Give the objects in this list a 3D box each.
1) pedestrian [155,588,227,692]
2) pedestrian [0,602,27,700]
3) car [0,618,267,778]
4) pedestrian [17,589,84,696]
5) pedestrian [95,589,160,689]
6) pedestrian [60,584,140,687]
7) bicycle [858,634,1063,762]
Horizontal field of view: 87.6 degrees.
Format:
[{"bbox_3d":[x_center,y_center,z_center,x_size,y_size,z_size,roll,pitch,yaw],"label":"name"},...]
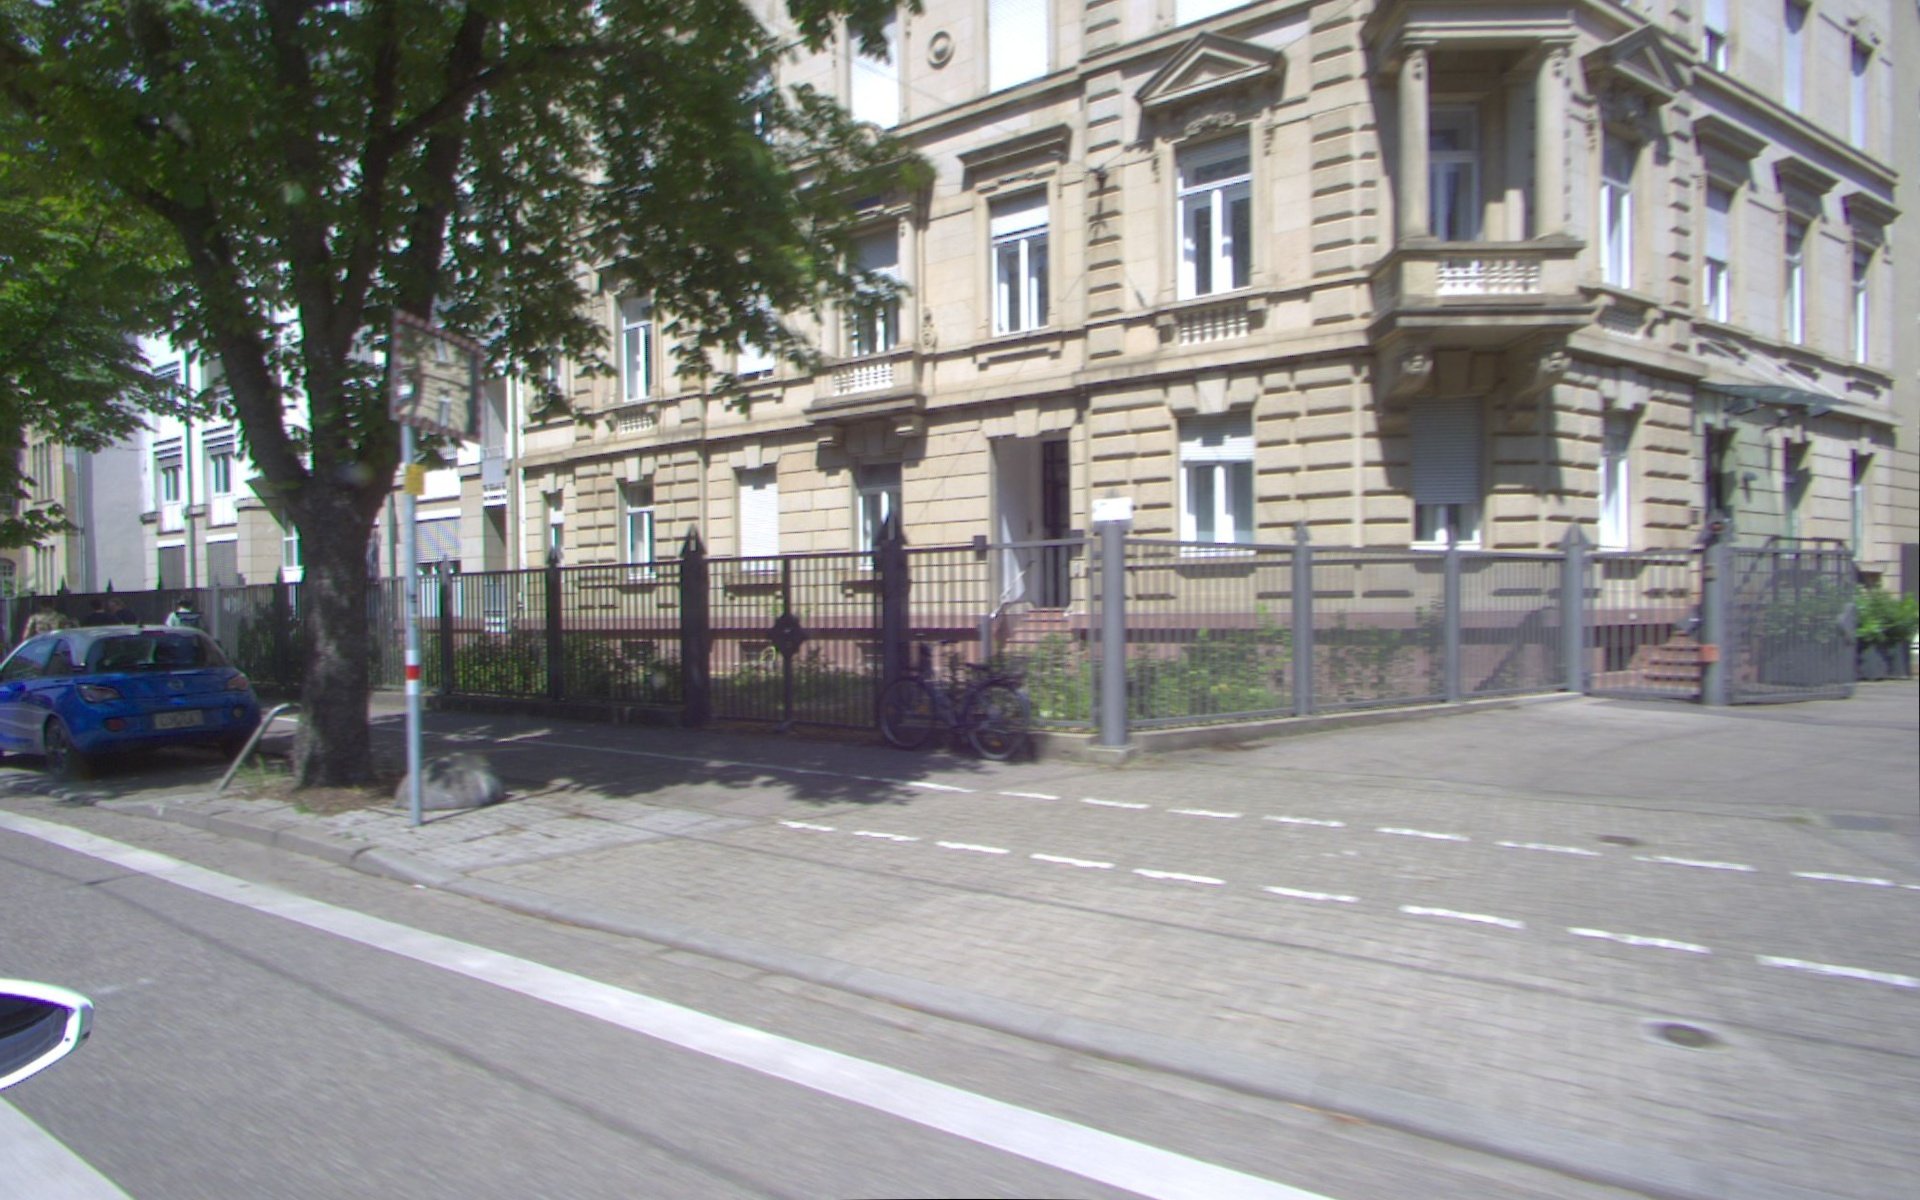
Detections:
[{"bbox_3d":[-13.907,0.699,18.112,1.068,1.821,0.683,0,1,32],"label":"pedestrian"},{"bbox_3d":[-16.884,0.882,17.423,0.961,1.673,0.764,0,1,35],"label":"pedestrian"},{"bbox_3d":[-9.410,0.948,11.020,3.423,1.472,1.688,-1,0,32],"label":"car"},{"bbox_3d":[-15.756,0.720,17.342,0.935,1.800,0.702,0,1,38],"label":"pedestrian"},{"bbox_3d":[-15.750,0.726,18.936,0.963,1.836,0.659,0,1,32],"label":"pedestrian"},{"bbox_3d":[-15.355,0.620,17.881,1.037,1.785,0.786,0,1,32],"label":"pedestrian"},{"bbox_3d":[-0.028,0.883,9.542,1.953,1.085,0.606,-1,0,34],"label":"bicycle"}]
